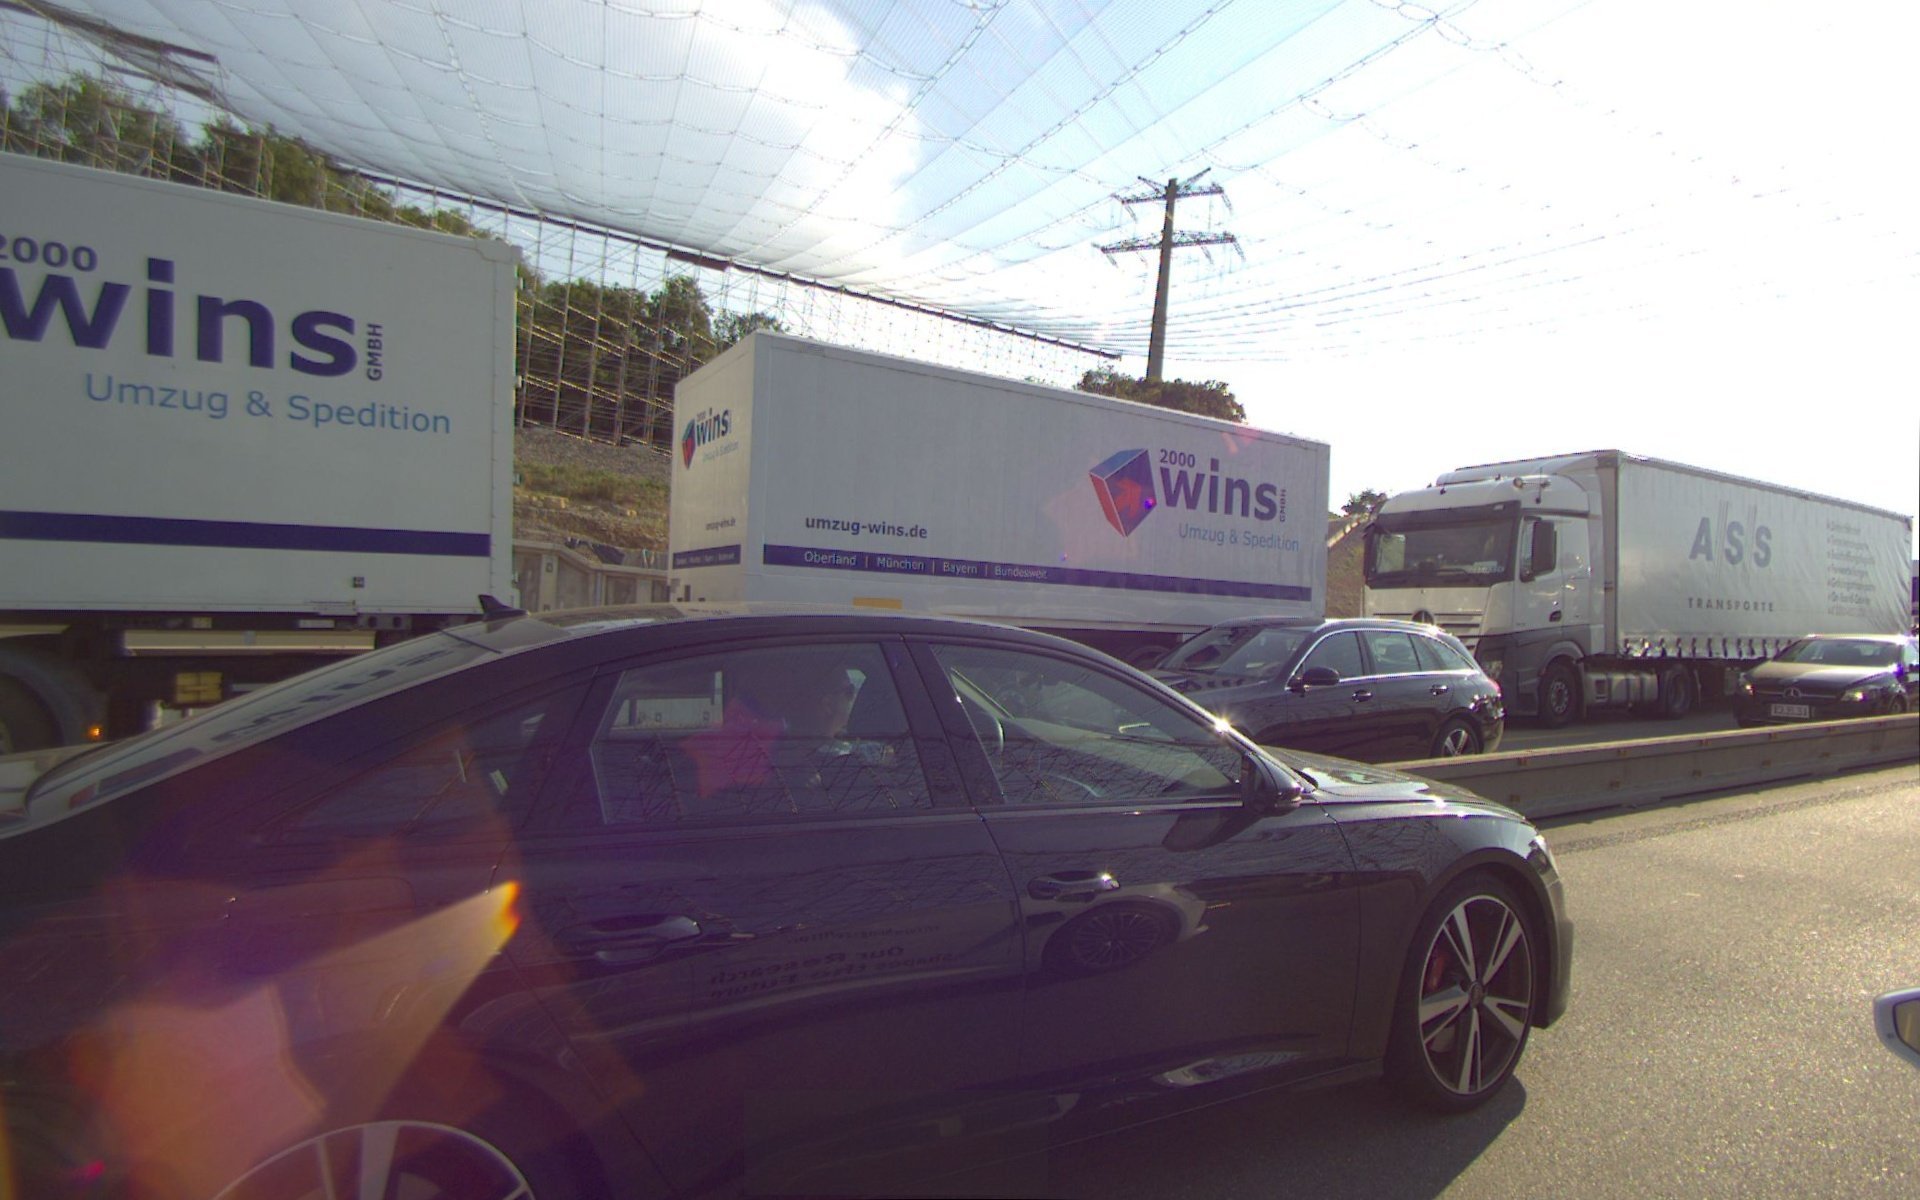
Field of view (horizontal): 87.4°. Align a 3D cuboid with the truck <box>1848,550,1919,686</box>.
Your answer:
[{"bbox_3d":[26.417,0.525,26.999,5.557,3.415,2.400,2,0,-33],"label":"truck"}]

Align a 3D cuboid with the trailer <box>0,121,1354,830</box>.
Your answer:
[{"bbox_3d":[-1.525,-0.577,9.840,13.185,4.069,2.655,2,0,-32],"label":"trailer"}]

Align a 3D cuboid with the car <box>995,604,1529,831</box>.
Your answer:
[{"bbox_3d":[2.703,0.835,8.570,4.612,1.469,1.768,2,0,-32],"label":"car"}]

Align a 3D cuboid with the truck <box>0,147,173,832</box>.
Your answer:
[{"bbox_3d":[-8.942,-0.725,5.316,7.121,3.962,2.618,2,0,-31],"label":"truck"}]

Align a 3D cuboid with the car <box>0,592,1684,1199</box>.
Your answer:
[{"bbox_3d":[-0.175,0.737,2.960,4.902,1.417,1.925,1,0,-30],"label":"car"}]

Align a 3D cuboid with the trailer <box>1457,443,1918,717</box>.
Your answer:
[{"bbox_3d":[14.807,-0.119,19.562,13.948,4.016,2.413,2,0,-33],"label":"trailer"}]

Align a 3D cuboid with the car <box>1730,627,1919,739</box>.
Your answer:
[{"bbox_3d":[13.074,1.141,14.732,3.858,1.394,1.598,2,0,-33],"label":"car"}]

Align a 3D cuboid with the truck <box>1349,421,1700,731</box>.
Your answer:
[{"bbox_3d":[8.982,-0.257,15.839,5.556,4.099,2.459,2,0,-33],"label":"truck"}]

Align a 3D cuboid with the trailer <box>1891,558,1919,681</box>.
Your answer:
[{"bbox_3d":[31.835,0.704,30.565,11.923,3.406,2.293,2,0,-33],"label":"trailer"}]
